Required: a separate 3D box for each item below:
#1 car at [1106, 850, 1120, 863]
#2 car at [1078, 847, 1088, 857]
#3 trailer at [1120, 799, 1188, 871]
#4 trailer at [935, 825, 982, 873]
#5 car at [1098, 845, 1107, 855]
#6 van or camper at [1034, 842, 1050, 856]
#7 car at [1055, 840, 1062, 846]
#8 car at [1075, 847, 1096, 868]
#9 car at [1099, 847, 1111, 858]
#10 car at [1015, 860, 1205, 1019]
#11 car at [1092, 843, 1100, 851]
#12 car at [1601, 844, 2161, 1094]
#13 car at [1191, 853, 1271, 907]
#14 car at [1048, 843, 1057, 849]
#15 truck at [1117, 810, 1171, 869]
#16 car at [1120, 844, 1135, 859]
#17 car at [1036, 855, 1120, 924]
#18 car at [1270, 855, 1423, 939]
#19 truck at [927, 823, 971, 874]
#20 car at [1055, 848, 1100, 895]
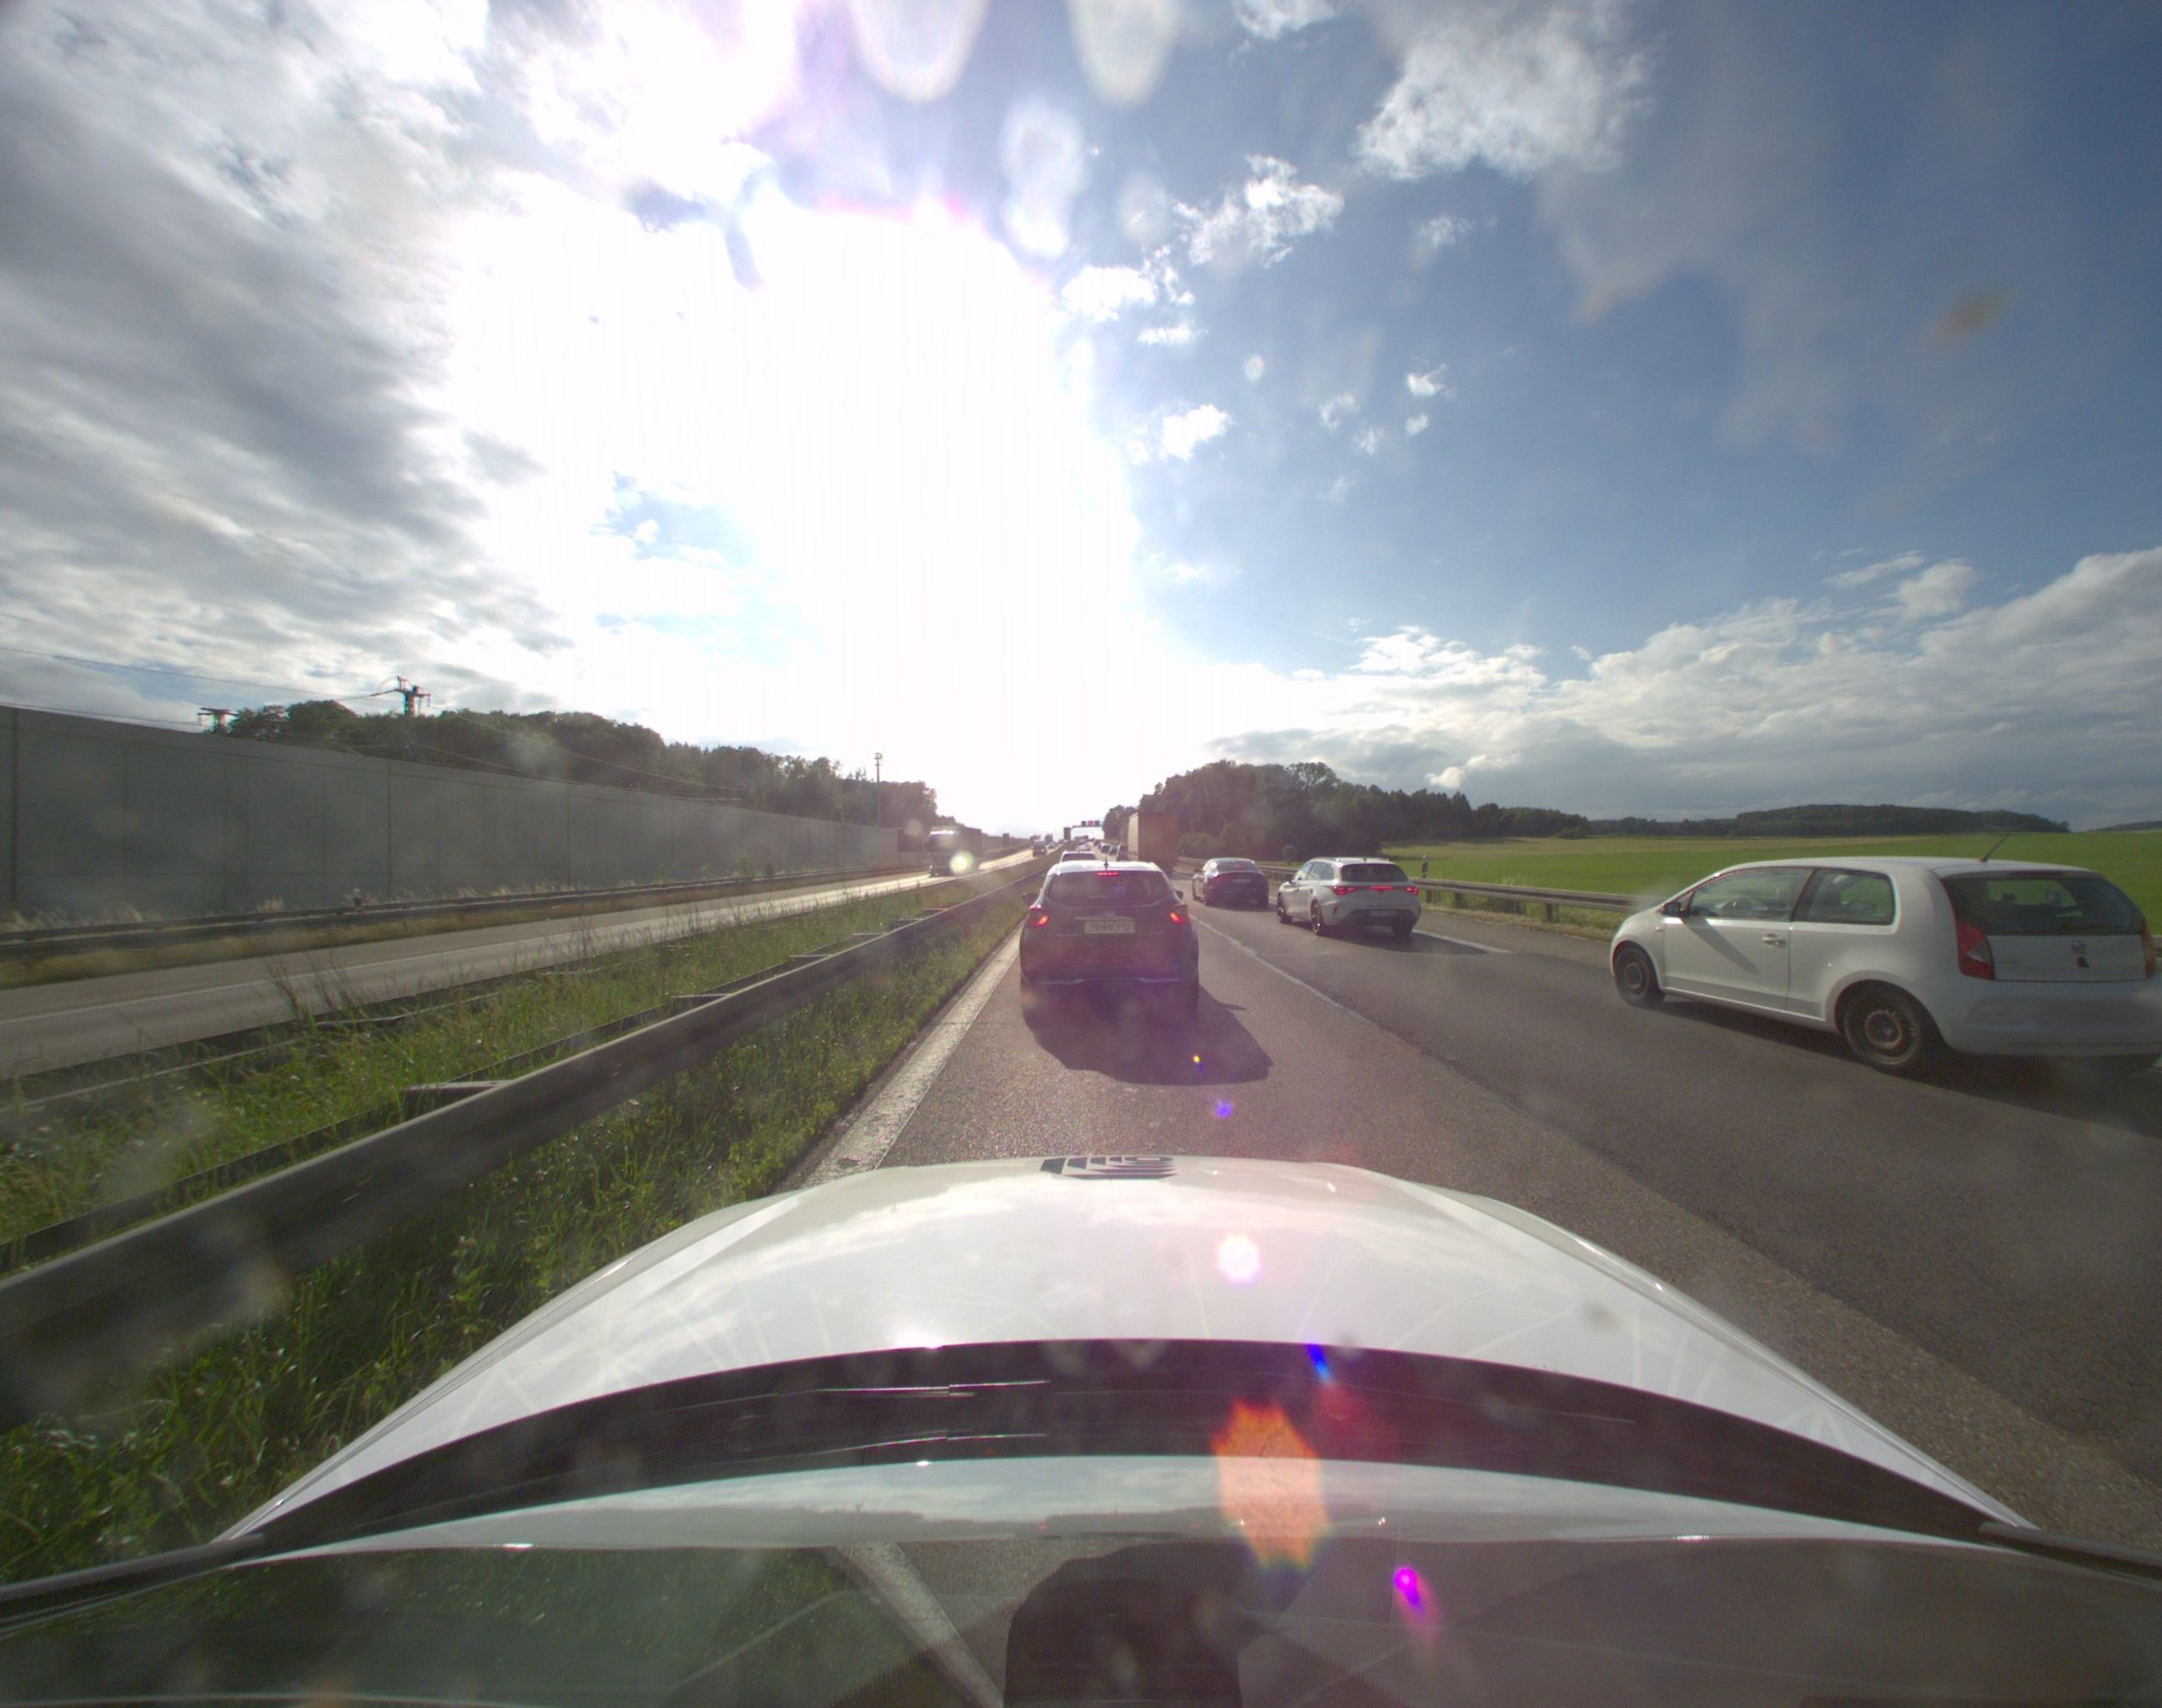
[{"bbox_3d":[5.298,0.394,135.326,1.987,2.014,3.998,0,-1,-1],"label":"car"},{"bbox_3d":[0.300,-0.418,164.964,1.987,2.014,3.998,0,-1,-1],"label":"car"},{"bbox_3d":[4.850,-1.124,57.151,3.538,4.457,12.718,0,-1,0],"label":"trailer"},{"bbox_3d":[-11.217,-0.365,75.965,2.646,4.081,12.392,0,0,-1],"label":"trailer"},{"bbox_3d":[4.724,-0.909,178.931,1.987,2.014,3.998,0,-1,-1],"label":"car"},{"bbox_3d":[-6.531,-0.838,137.769,2.158,2.205,6.260,0,-1,2],"label":"van or camper"},{"bbox_3d":[-6.380,-3.050,232.084,1.797,1.516,4.691,0,0,1],"label":"car"},{"bbox_3d":[0.394,0.341,79.041,1.987,2.014,3.998,0,-1,-1],"label":"car"},{"bbox_3d":[4.547,-0.273,153.636,1.987,2.014,3.998,0,-1,-1],"label":"car"},{"bbox_3d":[0.316,0.795,9.073,1.703,1.426,3.379,-1,-1,2],"label":"car"},{"bbox_3d":[3.939,-1.845,217.296,1.987,2.014,3.998,0,-1,-1],"label":"car"},{"bbox_3d":[6.094,0.678,6.619,1.544,1.495,3.376,0,0,-1],"label":"car"},{"bbox_3d":[4.462,0.743,24.748,1.741,1.475,4.147,-1,-1,1],"label":"car"},{"bbox_3d":[-7.151,-2.107,206.217,1.986,1.486,4.399,0,0,1],"label":"car"},{"bbox_3d":[4.798,-1.052,63.530,3.571,4.380,6.686,0,-1,-1],"label":"truck"},{"bbox_3d":[5.499,-0.274,95.902,1.661,1.755,3.328,0,-1,2],"label":"car"},{"bbox_3d":[-0.024,0.732,18.064,1.668,1.367,3.597,-1,-1,1],"label":"car"},{"bbox_3d":[5.073,0.761,16.149,1.616,1.445,4.144,0,-1,-1],"label":"car"},{"bbox_3d":[-11.094,-0.424,68.970,2.629,4.098,7.000,0,-1,0],"label":"truck"},{"bbox_3d":[-0.090,0.647,31.889,1.668,1.726,3.597,-1,-1,1],"label":"car"}]
